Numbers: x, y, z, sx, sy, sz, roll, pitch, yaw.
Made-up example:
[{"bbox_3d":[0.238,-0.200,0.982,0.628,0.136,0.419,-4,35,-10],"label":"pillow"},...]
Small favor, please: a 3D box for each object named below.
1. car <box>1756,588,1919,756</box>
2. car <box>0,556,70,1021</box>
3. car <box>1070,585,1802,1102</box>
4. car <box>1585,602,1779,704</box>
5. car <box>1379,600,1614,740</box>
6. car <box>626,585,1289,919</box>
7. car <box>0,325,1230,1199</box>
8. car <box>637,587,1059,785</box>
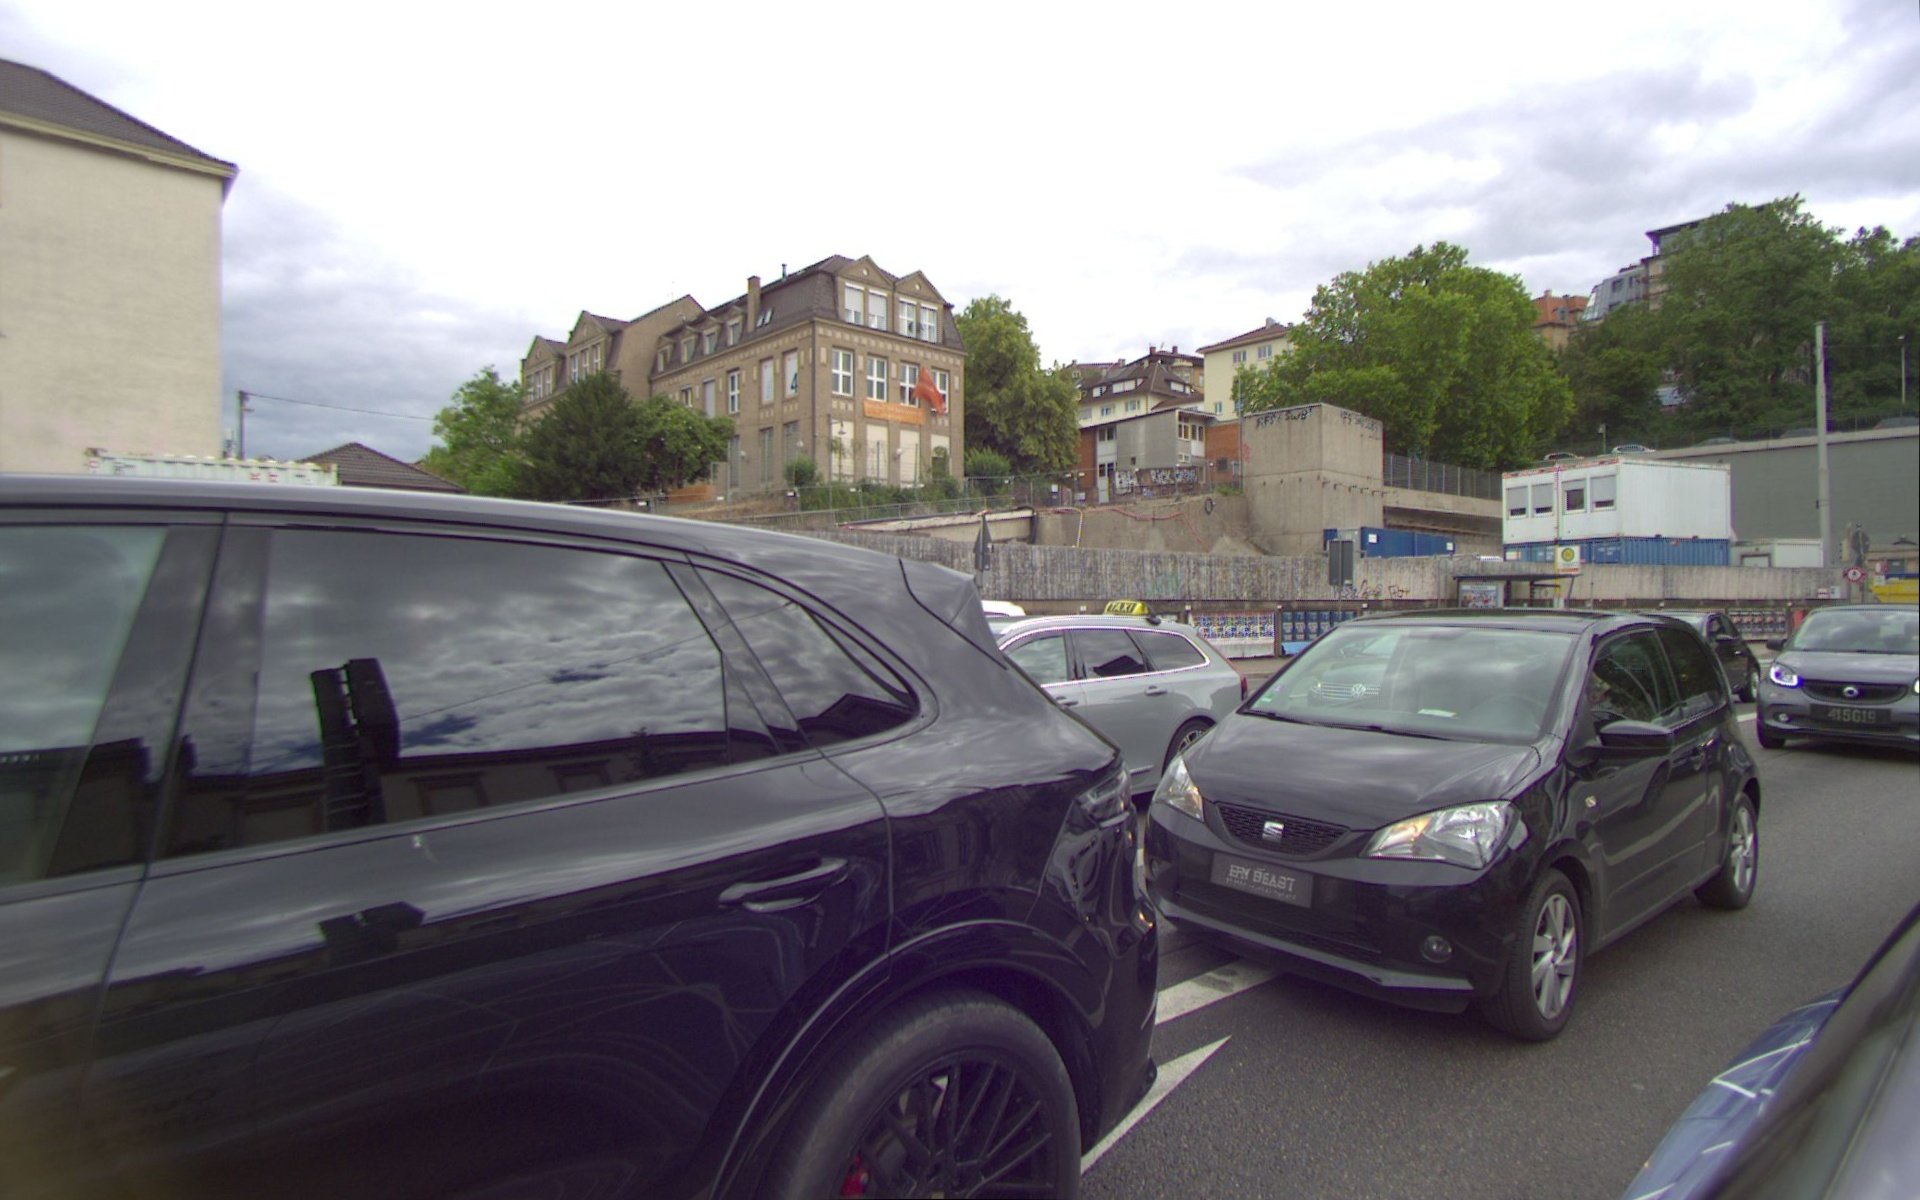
[{"bbox_3d":[10.058,0.674,10.852,3.511,1.563,1.720,0,0,-40],"label":"car"},{"bbox_3d":[-5.312,0.684,3.034,3.930,1.645,1.679,-1,0,-41],"label":"car"},{"bbox_3d":[2.428,0.674,4.786,3.636,1.476,1.827,-1,0,-41],"label":"car"},{"bbox_3d":[11.499,0.741,16.050,3.740,1.383,1.679,-1,0,-41],"label":"car"},{"bbox_3d":[6.514,0.741,12.230,2.667,1.449,1.664,-1,0,-41],"label":"car"},{"bbox_3d":[0.261,0.726,7.256,4.725,1.645,1.827,-1,0,-41],"label":"car"},{"bbox_3d":[-1.630,0.597,1.595,4.406,1.736,1.827,-1,0,-41],"label":"car"},{"bbox_3d":[-1.015,0.702,10.473,4.136,1.645,1.679,-1,0,-41],"label":"car"}]
